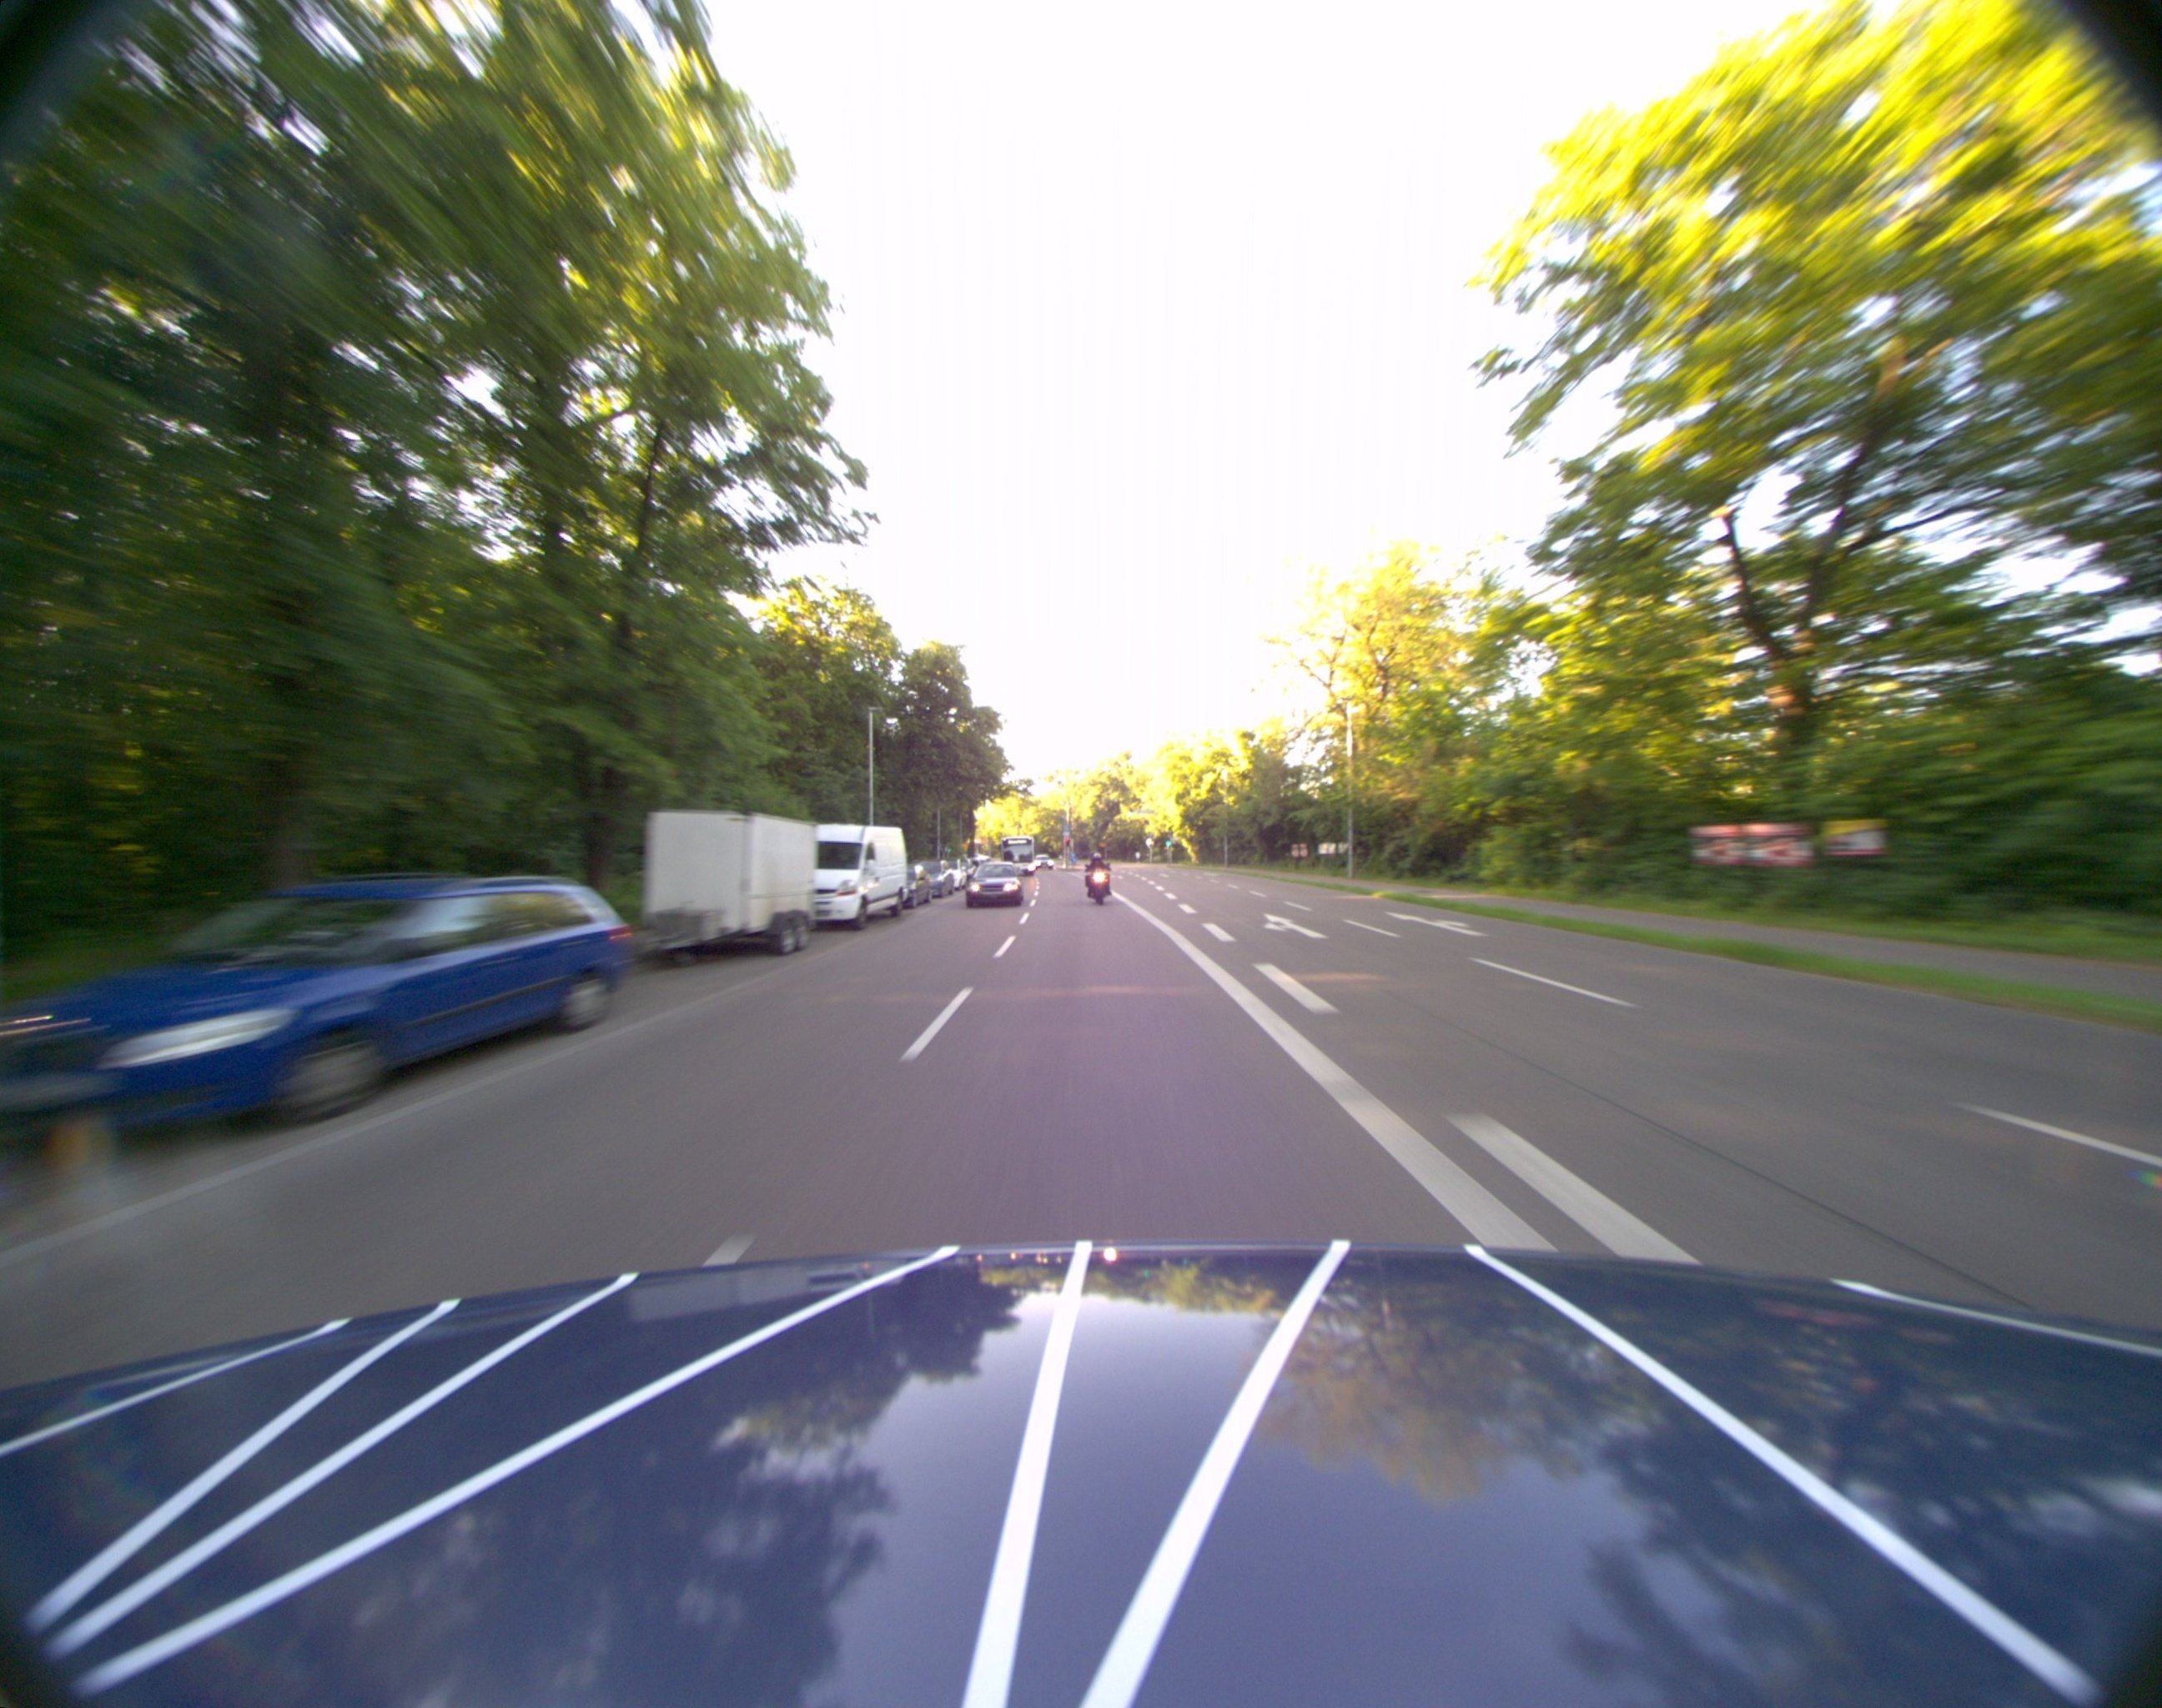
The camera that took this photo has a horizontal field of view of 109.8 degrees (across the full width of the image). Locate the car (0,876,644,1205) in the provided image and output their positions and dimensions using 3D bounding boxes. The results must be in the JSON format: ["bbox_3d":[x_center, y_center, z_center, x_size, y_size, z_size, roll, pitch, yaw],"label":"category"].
[{"bbox_3d":[-5.635,1.035,6.112,1.682,1.526,4.352,0,1,0],"label":"car"}]

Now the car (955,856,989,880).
[{"bbox_3d":[-6.773,0.838,47.528,1.723,1.403,4.485,0,1,-4],"label":"car"}]

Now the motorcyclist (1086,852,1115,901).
[{"bbox_3d":[0.611,0.687,23.638,0.830,1.484,1.024,-2,1,1],"label":"motorcyclist"}]

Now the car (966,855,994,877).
[{"bbox_3d":[-7.005,0.823,52.798,1.723,1.403,4.484,0,1,-5],"label":"car"}]

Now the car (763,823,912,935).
[{"bbox_3d":[-5.838,0.502,19.074,1.909,2.409,5.575,0,1,0],"label":"car"}]

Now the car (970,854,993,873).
[{"bbox_3d":[-8.273,0.756,63.186,1.723,1.460,4.200,0,1,-5],"label":"car"}]

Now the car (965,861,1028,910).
[{"bbox_3d":[-2.711,0.970,25.112,1.679,1.351,3.993,-2,1,-2],"label":"car"}]

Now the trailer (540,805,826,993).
[{"bbox_3d":[-5.943,0.543,12.290,1.909,2.409,5.125,0,1,0],"label":"trailer"}]

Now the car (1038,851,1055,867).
[{"bbox_3d":[-3.565,0.493,78.785,1.679,1.552,3.992,-2,1,-3],"label":"car"}]

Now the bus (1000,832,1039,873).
[{"bbox_3d":[-4.997,-0.132,63.612,2.813,3.030,12.880,-2,0,-3],"label":"bus"}]

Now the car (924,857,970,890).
[{"bbox_3d":[-6.407,0.898,36.691,1.682,1.455,3.687,0,1,-2],"label":"car"}]

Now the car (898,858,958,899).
[{"bbox_3d":[-6.086,0.946,30.665,1.682,1.455,4.065,0,1,-1],"label":"car"}]

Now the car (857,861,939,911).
[{"bbox_3d":[-5.953,0.988,25.270,1.682,1.392,4.649,0,1,-1],"label":"car"}]

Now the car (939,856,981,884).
[{"bbox_3d":[-6.650,0.868,42.361,1.722,1.403,4.905,0,1,-2],"label":"car"}]

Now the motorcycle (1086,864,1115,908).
[{"bbox_3d":[0.606,0.958,23.644,0.830,1.212,2.603,-2,1,1],"label":"motorcycle"}]
